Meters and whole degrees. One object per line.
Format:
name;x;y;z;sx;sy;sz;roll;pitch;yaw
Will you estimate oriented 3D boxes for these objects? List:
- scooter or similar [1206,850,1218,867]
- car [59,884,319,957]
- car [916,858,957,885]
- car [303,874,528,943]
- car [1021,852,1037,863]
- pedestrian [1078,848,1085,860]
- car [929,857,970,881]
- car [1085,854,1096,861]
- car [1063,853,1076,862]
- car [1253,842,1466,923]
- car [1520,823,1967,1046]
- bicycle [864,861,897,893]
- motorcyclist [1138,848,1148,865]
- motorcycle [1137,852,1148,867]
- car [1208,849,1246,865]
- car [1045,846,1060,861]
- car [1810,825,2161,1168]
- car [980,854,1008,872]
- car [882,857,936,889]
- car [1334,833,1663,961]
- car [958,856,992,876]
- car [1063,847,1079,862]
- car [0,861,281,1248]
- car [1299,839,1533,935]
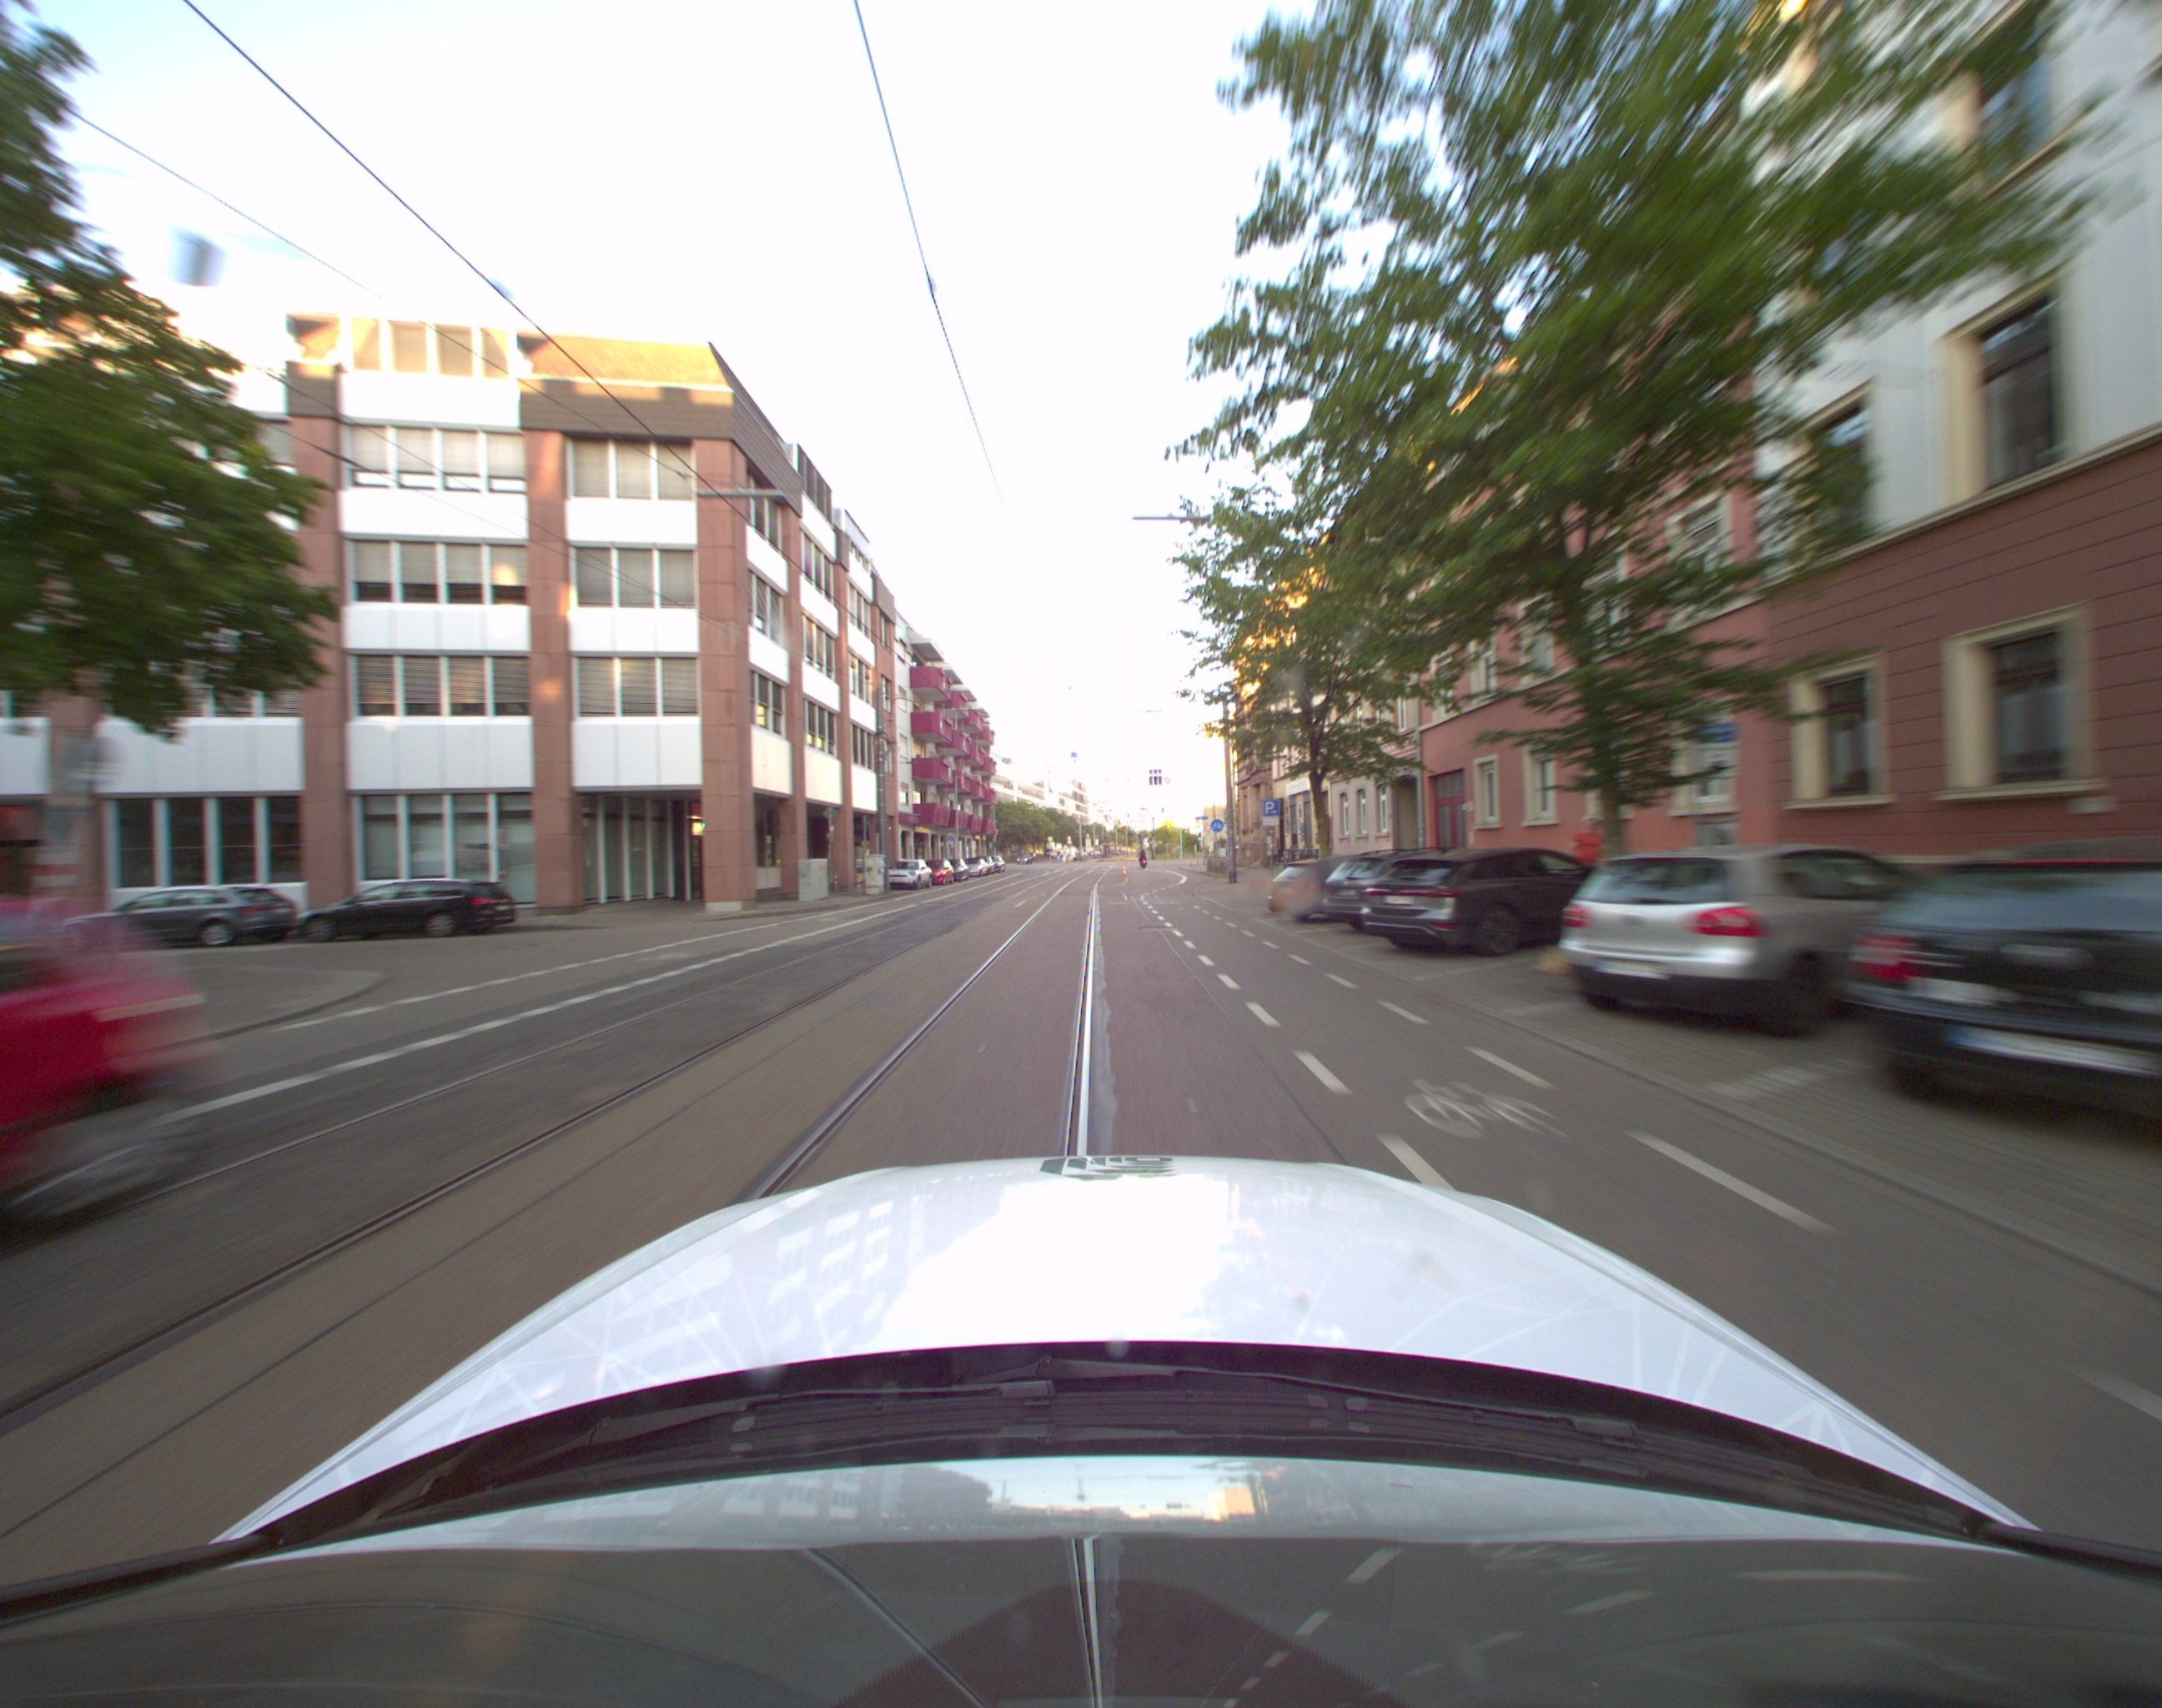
scooter or similar;10.372;0.362;64.549;0.639;1.266;1.583;-3;0;2
car;-21.709;1.568;19.981;3.982;1.505;1.919;-2;-2;-7
car;-8.382;0.983;47.473;1.605;1.479;3.481;0;0;2
car;-16.798;1.343;20.761;3.982;1.505;1.919;-2;-2;-7
car;-8.559;0.628;134.276;1.672;1.699;4.251;-2;0;10
pedestrian;0.150;0.015;150.699;1.043;2.030;0.978;-2;0;-19
car;-8.507;0.936;53.177;1.988;1.479;4.480;0;0;-1
car;1.923;0.654;169.107;1.673;1.439;4.136;-2;0;8
car;-2.078;0.574;144.176;1.673;1.439;4.136;-2;0;8
car;6.374;0.593;18.579;4.626;1.457;1.697;-4;0;-24
car;6.031;0.568;7.429;3.572;1.516;1.729;-3;0;-24
bicycle;-9.059;1.024;36.856;0.605;1.377;2.264;-2;0;9
motorcyclist;5.414;0.220;71.516;0.824;1.473;1.209;-2;0;5
motorcycle;5.408;0.445;71.355;0.824;1.240;2.495;-2;0;5
car;15.022;0.345;83.616;1.701;1.555;4.228;-1;0;44
car;-6.450;-0.139;186.373;2.188;3.152;6.158;-2;0;9
car;6.150;0.582;4.635;3.572;1.429;1.656;-3;0;-25
car;-7.808;0.784;73.376;1.845;1.456;5.088;-1;0;2
car;-8.701;0.932;41.566;1.710;1.555;4.205;0;0;2
car;6.366;0.560;12.461;4.462;1.516;2.048;-3;0;-22
car;-7.991;0.881;61.572;1.684;1.414;4.681;0;0;3
car;-1.836;0.078;149.862;2.449;2.482;5.816;-2;0;5
car;-5.179;0.861;2.572;1.555;1.558;3.753;-3;0;-1
car;6.427;0.592;15.632;4.005;1.492;1.816;-3;-1;-24
